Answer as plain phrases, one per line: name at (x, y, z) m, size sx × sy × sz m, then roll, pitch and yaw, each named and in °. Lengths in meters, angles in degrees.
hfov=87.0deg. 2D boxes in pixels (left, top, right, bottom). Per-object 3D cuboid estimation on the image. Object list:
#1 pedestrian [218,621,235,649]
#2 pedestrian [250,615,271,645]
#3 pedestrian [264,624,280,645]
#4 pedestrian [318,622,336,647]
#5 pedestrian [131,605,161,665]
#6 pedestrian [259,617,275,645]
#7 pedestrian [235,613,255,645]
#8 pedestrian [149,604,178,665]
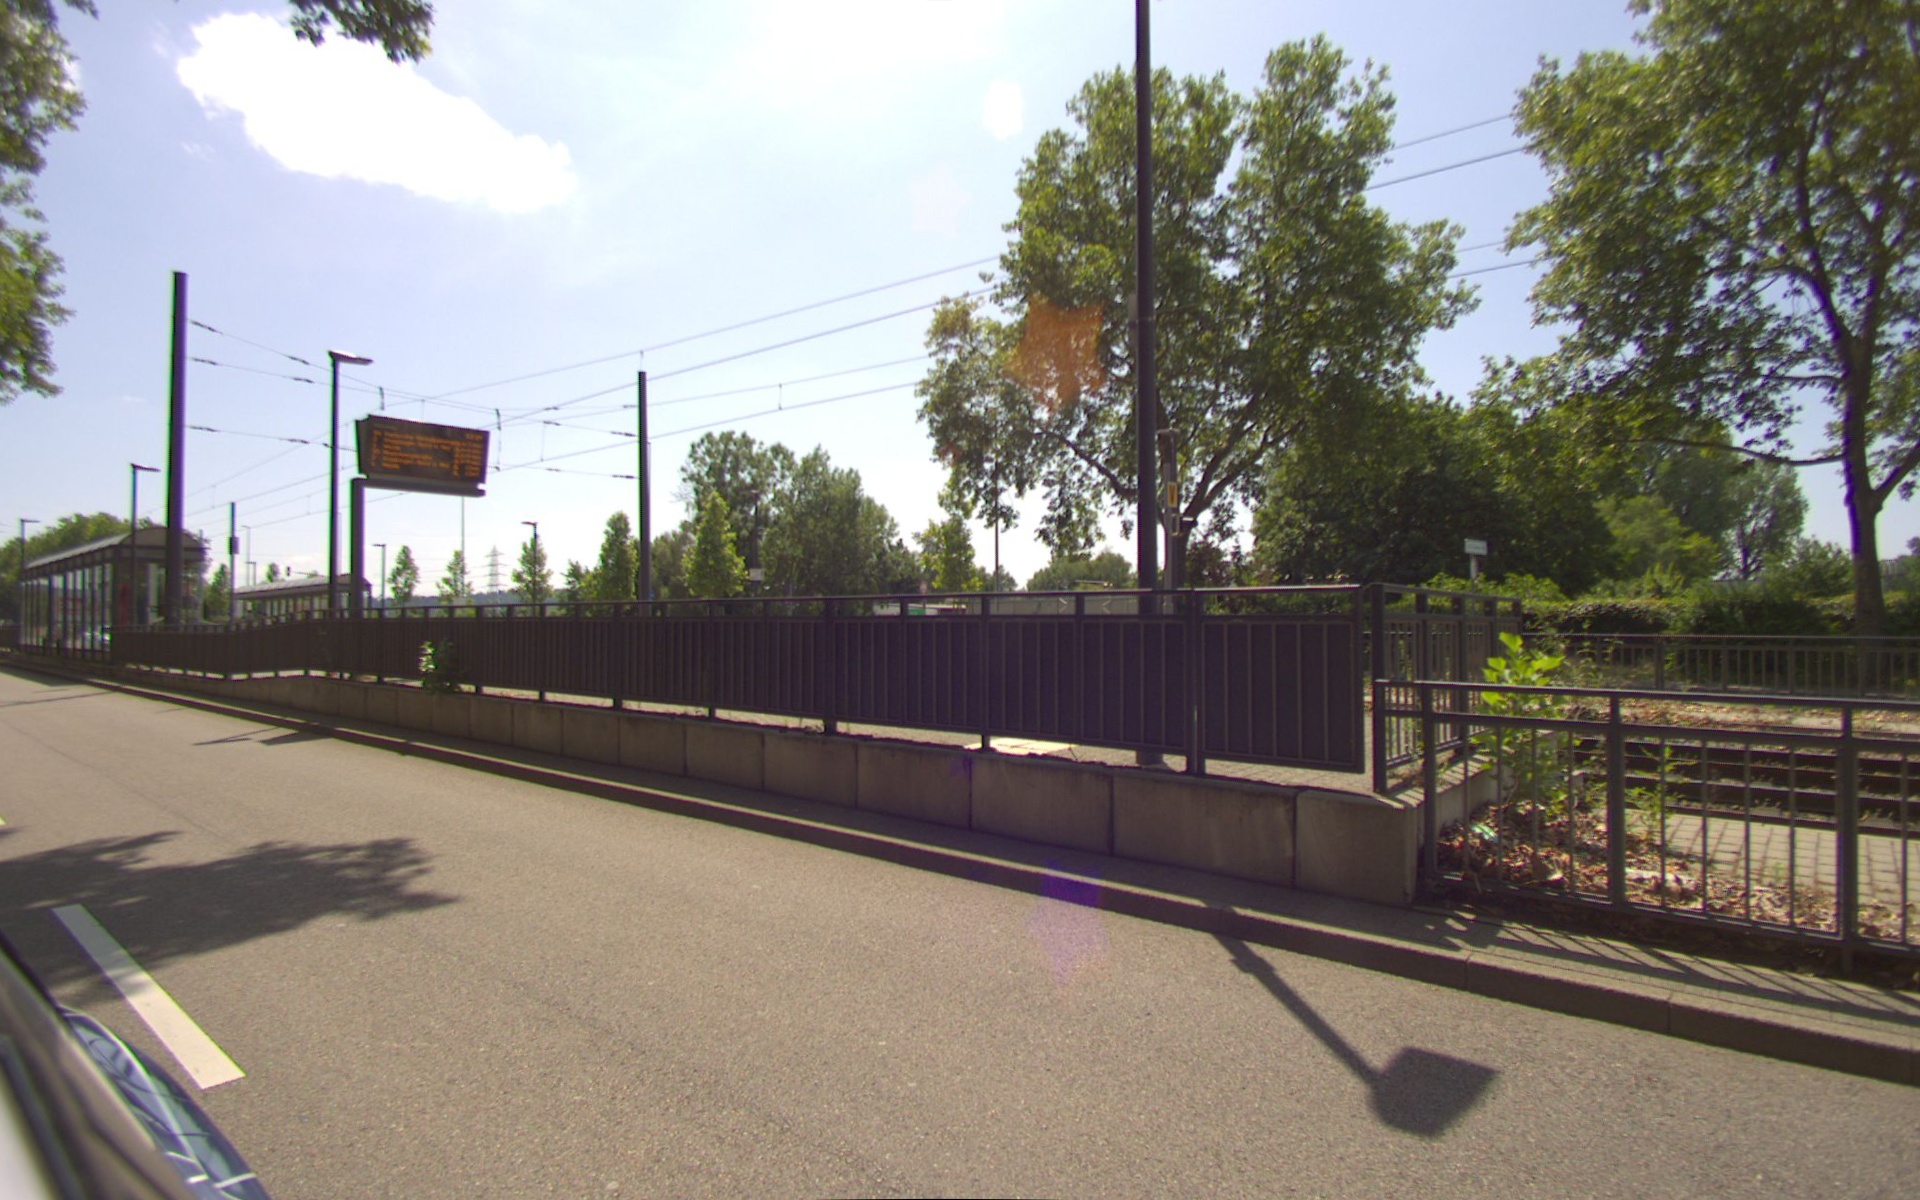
pedestrian at (-43.538, 2.053, 60.084) m, size 0.804 × 1.650 × 0.552 m, roll -2°, pitch -1°, yaw 34°
pedestrian at (-38.506, 1.639, 55.719) m, size 0.814 × 1.651 × 0.580 m, roll 0°, pitch -2°, yaw -12°
pedestrian at (-36.612, 1.838, 53.848) m, size 0.639 × 1.103 × 0.570 m, roll -2°, pitch -2°, yaw 42°
pedestrian at (-30.501, 1.646, 48.769) m, size 0.639 × 1.199 × 0.570 m, roll -2°, pitch -2°, yaw 42°
pedestrian at (-20.679, 0.883, 25.714) m, size 0.413 × 1.519 × 0.396 m, roll 0°, pitch -1°, yaw 0°
pedestrian at (-37.853, 1.686, 55.293) m, size 0.639 × 1.545 × 0.570 m, roll -2°, pitch -2°, yaw 42°
pedestrian at (-39.841, 1.616, 56.384) m, size 0.726 × 1.742 × 0.580 m, roll 0°, pitch -2°, yaw -12°
pedestrian at (-20.256, 0.874, 25.743) m, size 0.413 × 1.519 × 0.396 m, roll 0°, pitch -1°, yaw 0°
